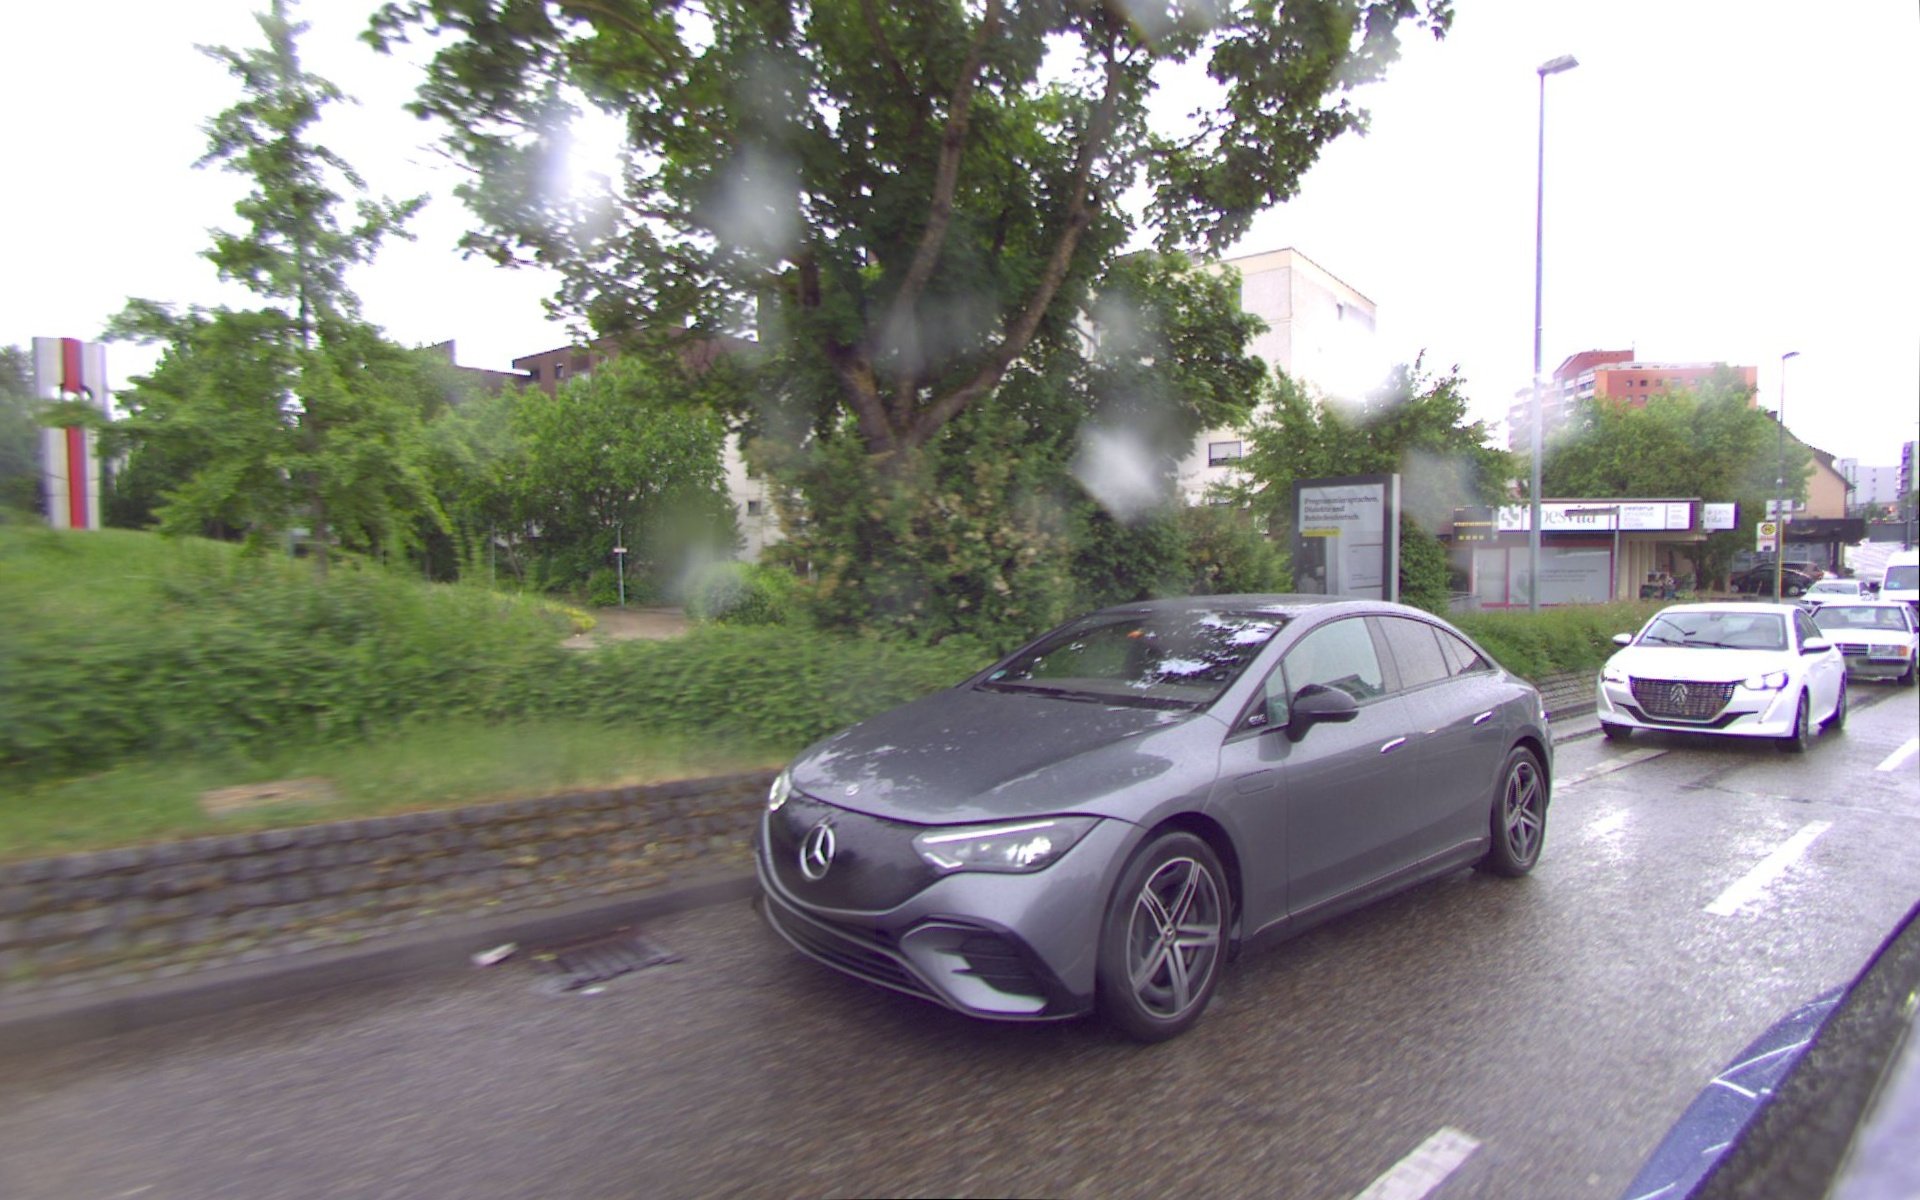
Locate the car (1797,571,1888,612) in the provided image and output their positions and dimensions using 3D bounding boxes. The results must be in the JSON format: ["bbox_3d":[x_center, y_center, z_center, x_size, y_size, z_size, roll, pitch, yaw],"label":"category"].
[{"bbox_3d":[32.716,-0.341,37.482,3.737,1.367,1.998,-1,4,-41],"label":"car"}]

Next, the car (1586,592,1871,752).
[{"bbox_3d":[8.536,0.646,11.125,3.965,1.415,1.716,-1,0,-41],"label":"car"}]

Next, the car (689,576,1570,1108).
[{"bbox_3d":[1.162,0.643,4.953,4.471,1.462,1.834,-1,0,-41],"label":"car"}]

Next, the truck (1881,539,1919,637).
[{"bbox_3d":[26.696,-0.337,27.208,6.092,2.470,2.167,-1,1,-41],"label":"truck"}]

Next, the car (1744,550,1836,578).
[{"bbox_3d":[47.098,-2.015,57.516,3.981,1.438,1.678,0,1,40],"label":"car"}]

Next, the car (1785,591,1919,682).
[{"bbox_3d":[15.869,0.562,17.631,3.670,1.394,1.716,-1,0,-41],"label":"car"}]

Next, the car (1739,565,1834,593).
[{"bbox_3d":[45.448,-1.132,55.724,3.981,1.438,1.971,0,1,40],"label":"car"}]

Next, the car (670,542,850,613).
[{"bbox_3d":[-7.125,-0.862,37.032,2.774,2.300,6.700,3,3,29],"label":"car"}]
